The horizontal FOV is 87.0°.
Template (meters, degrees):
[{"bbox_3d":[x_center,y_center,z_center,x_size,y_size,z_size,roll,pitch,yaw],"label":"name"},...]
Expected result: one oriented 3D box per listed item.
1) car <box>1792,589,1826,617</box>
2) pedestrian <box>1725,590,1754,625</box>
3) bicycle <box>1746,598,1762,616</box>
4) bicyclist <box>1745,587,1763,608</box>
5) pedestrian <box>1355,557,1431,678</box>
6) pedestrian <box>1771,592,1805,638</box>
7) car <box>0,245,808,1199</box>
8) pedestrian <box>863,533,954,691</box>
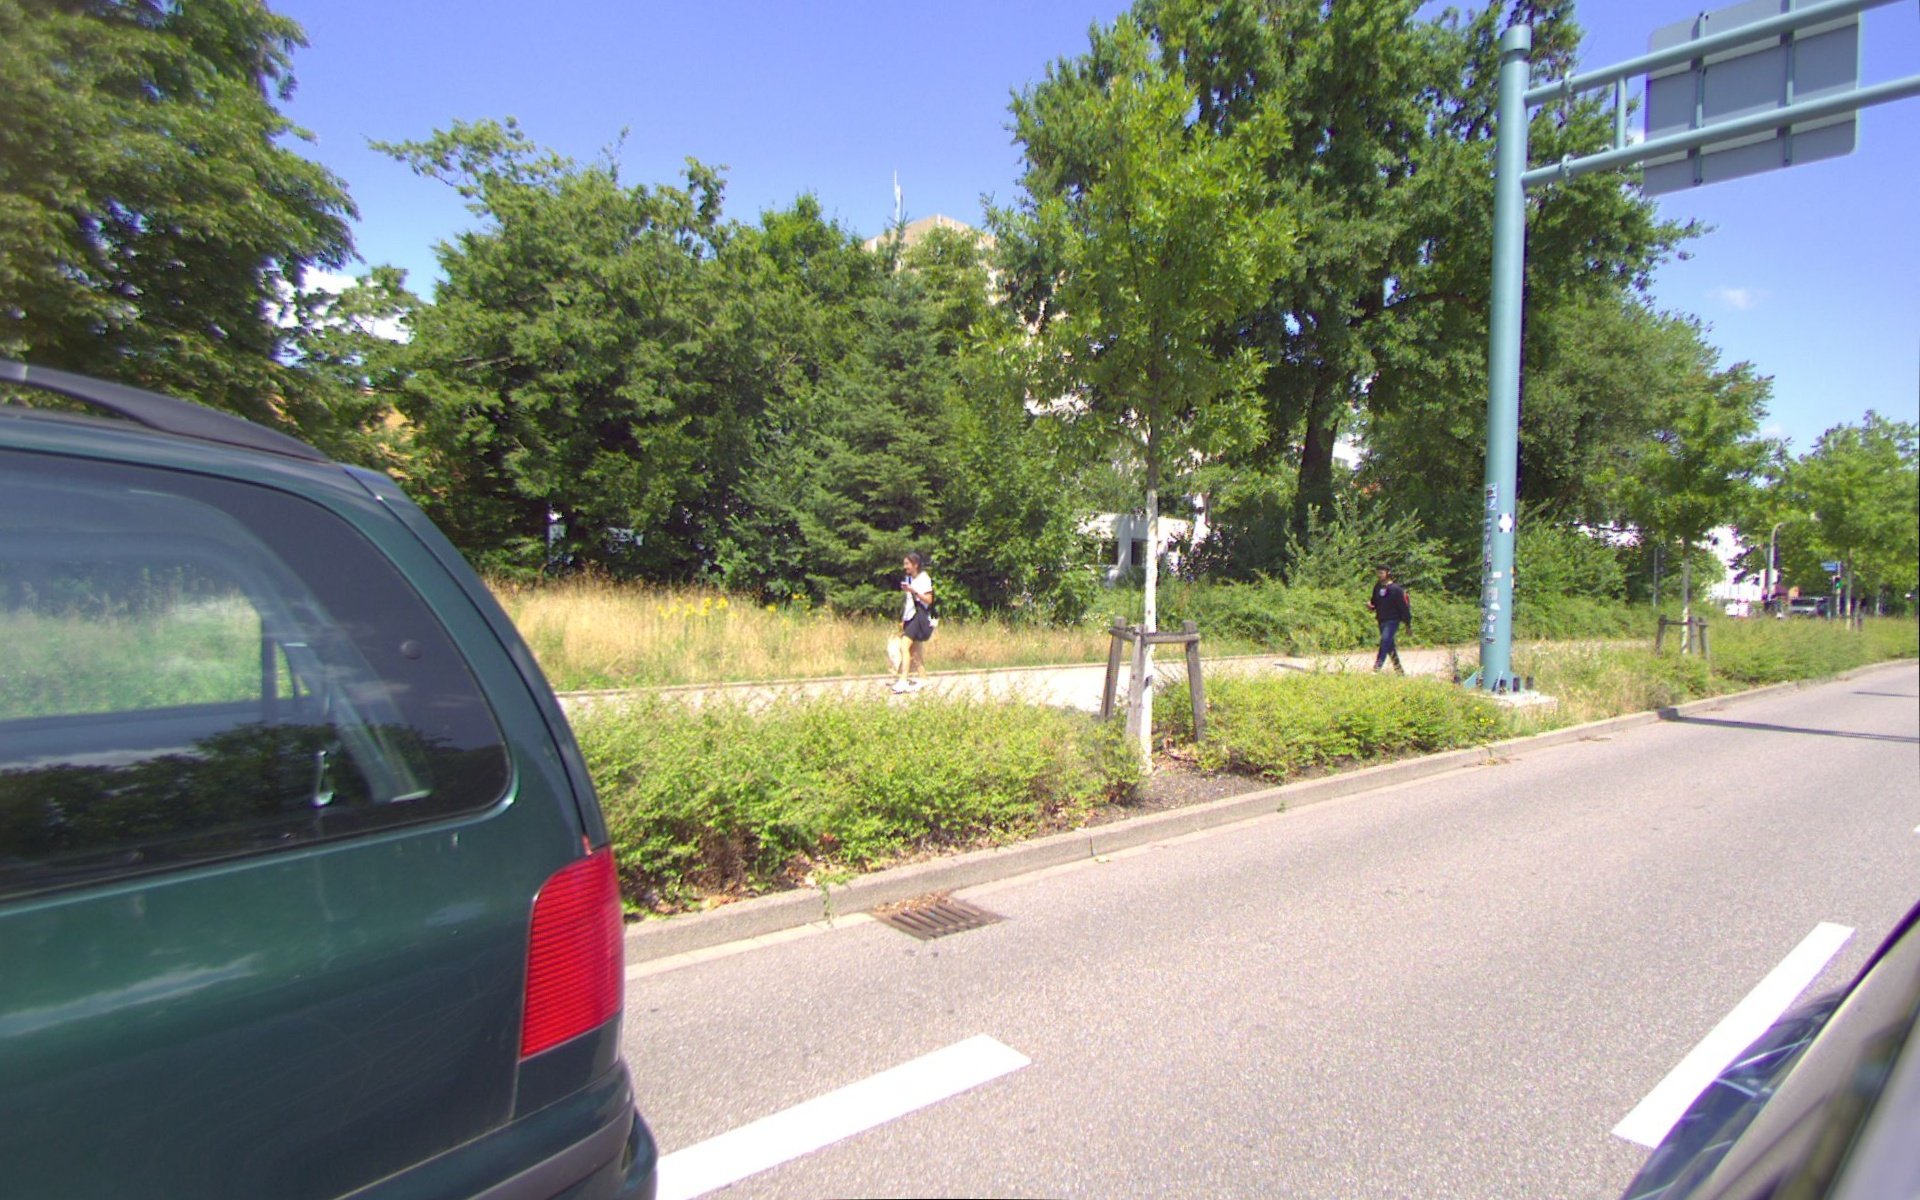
[{"bbox_3d":[68.227,0.241,81.327,1.992,2.080,4.166,2,1,41],"label":"car"},{"bbox_3d":[43.325,0.417,56.259,0.951,1.896,0.881,1,0,-20],"label":"pedestrian"},{"bbox_3d":[57.407,0.525,73.146,0.881,1.267,2.134,1,1,39],"label":"bicycle"},{"bbox_3d":[57.377,-0.171,73.099,0.968,1.462,1.061,1,1,40],"label":"bicyclist"},{"bbox_3d":[6.437,0.242,15.063,0.822,1.743,0.718,1,1,-39],"label":"pedestrian"},{"bbox_3d":[31.870,0.571,38.954,0.913,1.743,0.815,1,1,-39],"label":"pedestrian"},{"bbox_3d":[-2.448,0.530,0.784,4.311,1.756,1.815,1,0,-41],"label":"car"},{"bbox_3d":[-0.597,0.127,11.683,0.733,1.743,0.724,1,1,-39],"label":"pedestrian"}]
